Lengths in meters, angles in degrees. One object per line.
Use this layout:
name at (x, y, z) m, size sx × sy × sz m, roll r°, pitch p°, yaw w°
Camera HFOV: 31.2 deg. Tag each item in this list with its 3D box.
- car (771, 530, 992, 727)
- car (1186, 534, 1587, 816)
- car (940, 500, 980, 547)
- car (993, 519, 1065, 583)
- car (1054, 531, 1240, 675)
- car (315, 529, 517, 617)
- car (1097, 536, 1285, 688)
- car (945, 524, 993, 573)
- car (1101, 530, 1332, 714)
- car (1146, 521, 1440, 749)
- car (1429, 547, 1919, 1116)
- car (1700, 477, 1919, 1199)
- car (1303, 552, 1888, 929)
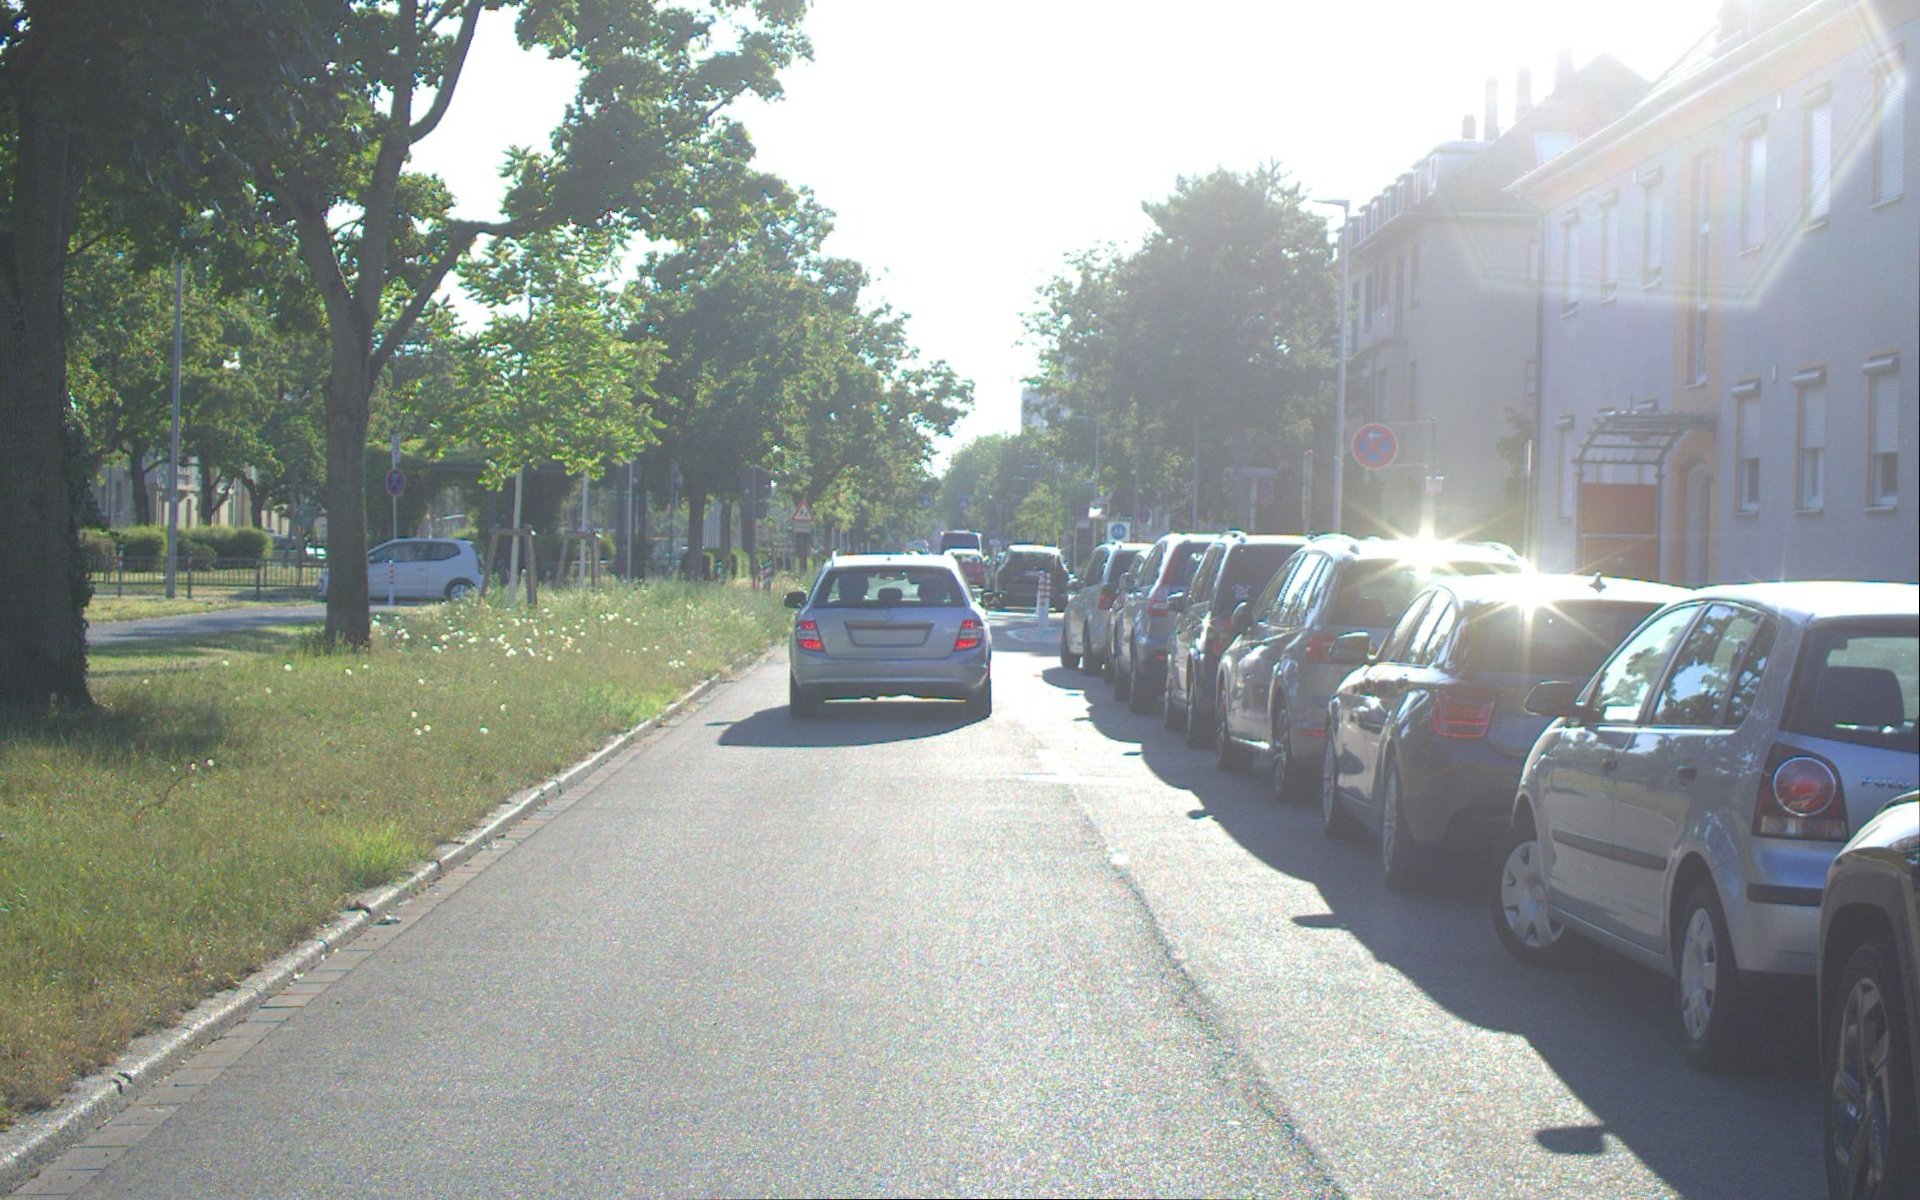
car at (-0.658, 0.199, 30.810) m, size 1.823 × 1.561 × 4.000 m, roll -1°, pitch 2°, yaw 0°
car at (2.578, 0.387, 21.809) m, size 1.724 × 1.556 × 4.418 m, roll 1°, pitch 1°, yaw -3°
car at (0.000, -3.621, 163.377) m, size 1.861 × 2.185 × 5.070 m, roll 0°, pitch 1°, yaw 0°
car at (1.735, -1.239, 87.089) m, size 1.721 × 1.591 × 4.000 m, roll 0°, pitch 1°, yaw 0°
car at (2.289, -0.007, 43.251) m, size 1.716 × 1.633 × 4.565 m, roll 2°, pitch 1°, yaw -4°
car at (-11.358, -0.570, 71.945) m, size 3.893 × 1.590 × 2.000 m, roll -3°, pitch 1°, yaw -3°
car at (2.500, 0.089, 37.997) m, size 1.729 × 1.521 × 3.735 m, roll -1°, pitch 2°, yaw -1°
car at (0.389, -2.195, 145.346) m, size 1.988 × 2.016 × 4.000 m, roll 0°, pitch 1°, yaw 0°
car at (2.386, 0.150, 33.054) m, size 1.777 × 1.637 × 4.757 m, roll 0°, pitch 1°, yaw -1°
car at (2.575, 0.224, 27.619) m, size 1.765 × 1.629 × 4.765 m, roll 1°, pitch 1°, yaw -1°
car at (2.898, 0.659, 11.694) m, size 1.727 × 1.543 × 4.208 m, roll 5°, pitch 1°, yaw -3°
car at (2.823, 0.619, 6.248) m, size 1.854 × 1.651 × 4.820 m, roll 1°, pitch 2°, yaw 0°
car at (2.878, 0.554, 16.642) m, size 1.993 × 1.457 × 4.562 m, roll 2°, pitch 2°, yaw 1°
